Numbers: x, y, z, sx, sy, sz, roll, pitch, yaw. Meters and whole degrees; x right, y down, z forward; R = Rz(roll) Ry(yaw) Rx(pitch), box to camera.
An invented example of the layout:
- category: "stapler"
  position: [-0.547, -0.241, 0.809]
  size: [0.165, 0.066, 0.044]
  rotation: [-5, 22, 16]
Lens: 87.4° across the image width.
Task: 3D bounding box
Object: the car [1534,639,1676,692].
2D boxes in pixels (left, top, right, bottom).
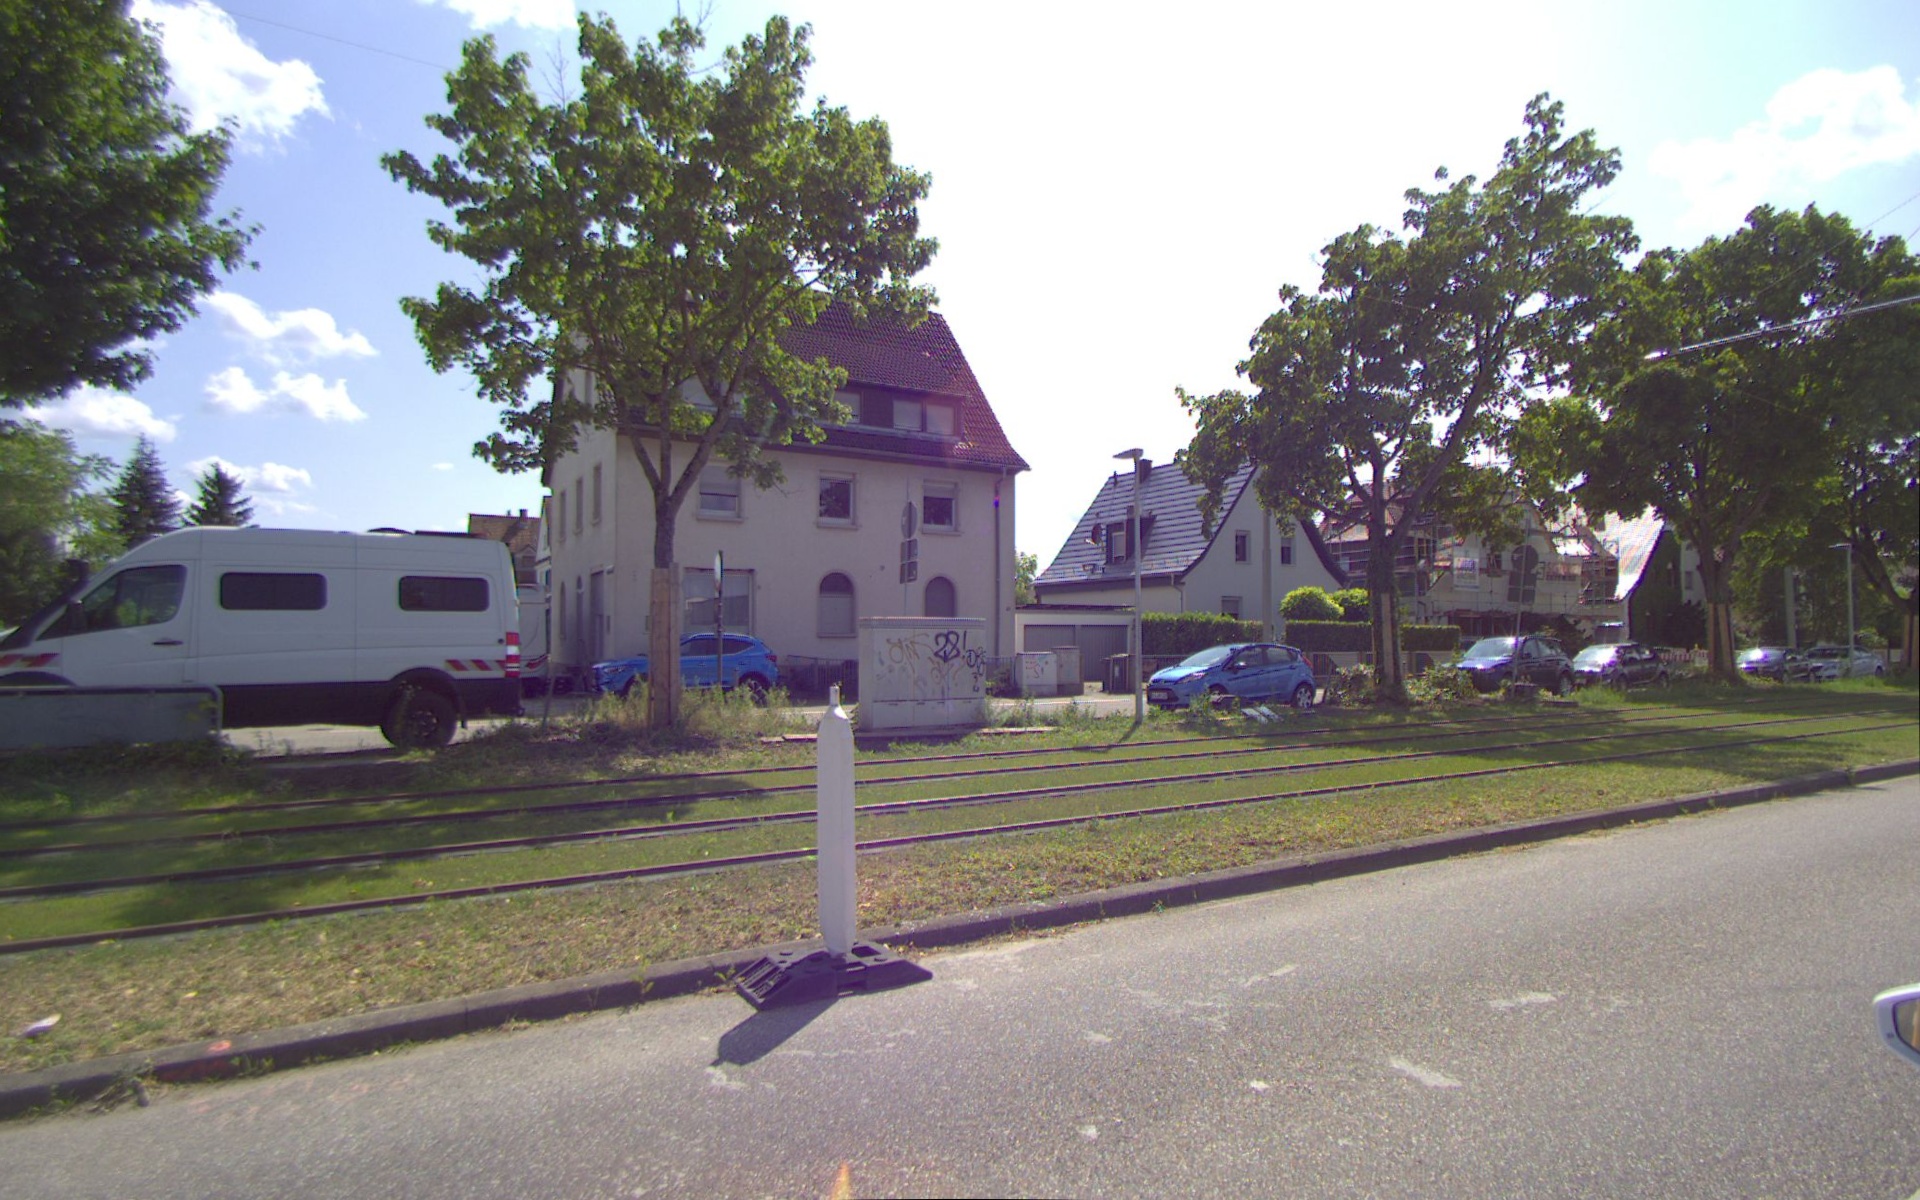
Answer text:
- category: "car"
  position: [19.074, 1.948, 29.676]
  size: [3.955, 1.457, 1.984]
  rotation: [2, -4, -31]

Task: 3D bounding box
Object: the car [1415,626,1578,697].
- category: "car"
  position: [14.074, 1.611, 26.302]
  size: [4.347, 1.713, 1.981]
  rotation: [3, -3, -34]

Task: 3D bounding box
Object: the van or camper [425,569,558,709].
- category: "van or camper"
  position: [-12.738, 1.040, 27.004]
  size: [2.604, 3.264, 6.696]
  rotation: [1, -2, -30]

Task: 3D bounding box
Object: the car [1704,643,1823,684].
- category: "car"
  position: [27.790, 2.216, 34.720]
  size: [3.809, 1.334, 1.984]
  rotation: [2, -5, -31]

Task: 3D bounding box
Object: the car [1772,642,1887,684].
- category: "car"
  position: [32.583, 2.340, 37.591]
  size: [4.882, 1.502, 1.796]
  rotation: [2, -3, -31]

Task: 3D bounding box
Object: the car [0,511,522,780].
- category: "car"
  position: [-8.912, 0.544, 12.137]
  size: [6.393, 2.766, 1.982]
  rotation: [2, -3, -33]

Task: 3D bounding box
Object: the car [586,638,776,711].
- category: "car"
  position: [-6.550, 1.725, 23.650]
  size: [3.954, 1.598, 1.894]
  rotation: [2, -3, -31]

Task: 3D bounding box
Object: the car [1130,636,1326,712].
- category: "car"
  position: [5.609, 1.523, 20.990]
  size: [3.842, 1.454, 1.747]
  rotation: [2, -3, -29]
